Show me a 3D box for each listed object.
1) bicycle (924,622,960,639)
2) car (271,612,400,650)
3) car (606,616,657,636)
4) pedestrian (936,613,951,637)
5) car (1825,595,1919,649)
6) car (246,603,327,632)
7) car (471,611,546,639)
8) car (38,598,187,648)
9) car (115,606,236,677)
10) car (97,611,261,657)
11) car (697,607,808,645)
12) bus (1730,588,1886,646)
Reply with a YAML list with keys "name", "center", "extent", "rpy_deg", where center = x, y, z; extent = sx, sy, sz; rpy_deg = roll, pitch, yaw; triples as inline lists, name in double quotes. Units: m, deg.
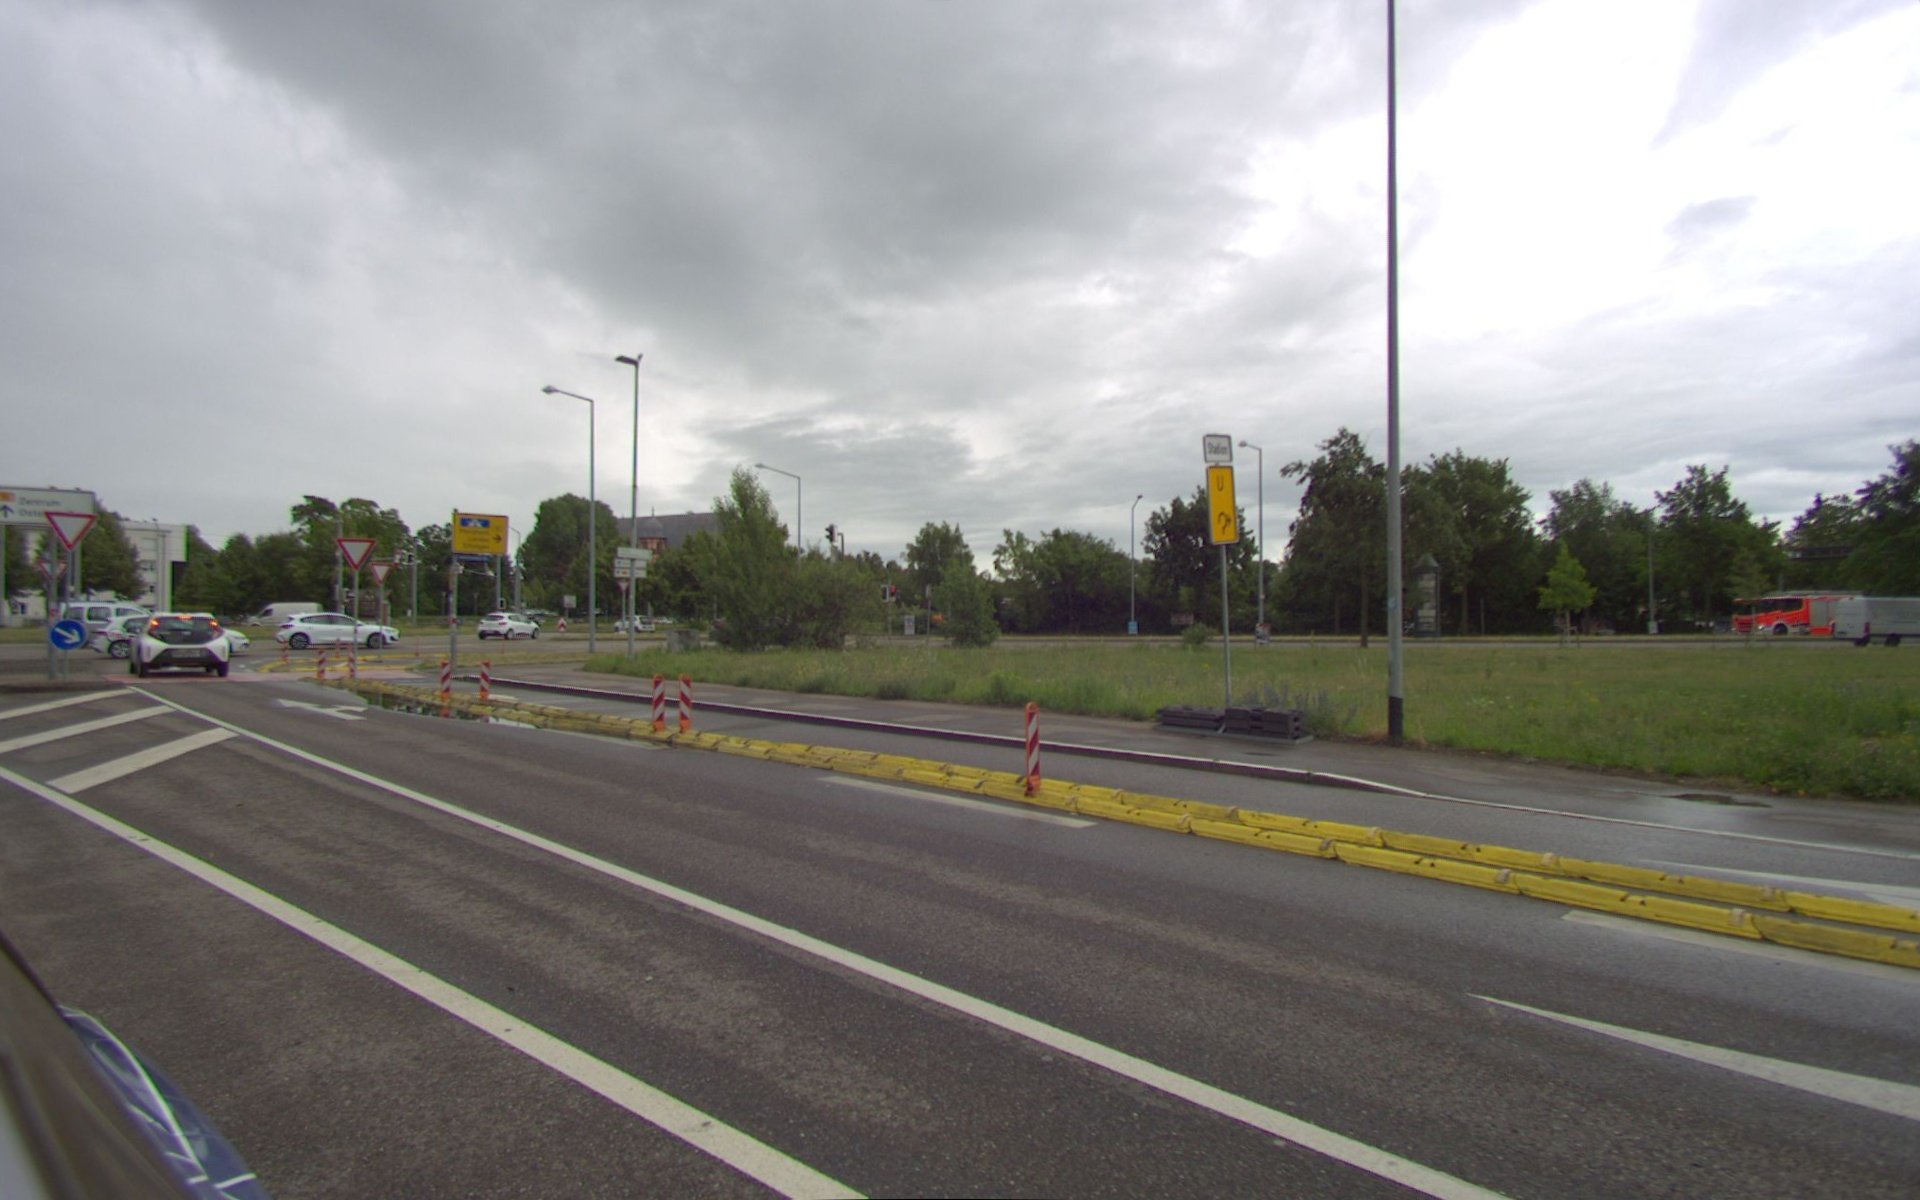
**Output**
- name: "bicycle"
  center: [-1.349, 2.258, 75.802]
  extent: [2.659, 1.231, 0.755]
  rpy_deg: [-1, -2, 9]
- name: "car"
  center: [-25.788, 1.243, 41.840]
  extent: [4.402, 1.468, 1.926]
  rpy_deg: [0, -1, -36]
- name: "car"
  center: [-26.781, 2.096, 82.560]
  extent: [3.988, 1.567, 1.878]
  rpy_deg: [-1, -1, 33]
- name: "pedestrian"
  center: [-1.222, 1.887, 75.802]
  extent: [0.963, 1.784, 0.746]
  rpy_deg: [-1, -2, 10]
- name: "car"
  center: [49.411, 1.143, 52.760]
  extent: [6.479, 2.725, 2.398]
  rpy_deg: [0, -2, -1]
- name: "car"
  center: [-59.749, 1.575, 89.892]
  extent: [5.516, 2.561, 2.246]
  rpy_deg: [0, -1, -13]
- name: "car"
  center: [-25.012, 1.361, 56.247]
  extent: [1.897, 1.466, 4.469]
  rpy_deg: [0, -1, 4]
- name: "car"
  center: [-33.656, 0.885, 40.370]
  extent: [4.412, 1.918, 1.926]
  rpy_deg: [0, -1, -37]
- name: "car"
  center: [-19.197, 1.000, 24.705]
  extent: [3.903, 1.599, 1.731]
  rpy_deg: [-1, -4, 44]
- name: "car"
  center: [-26.670, 1.116, 34.684]
  extent: [4.361, 1.468, 1.836]
  rpy_deg: [0, -1, -39]
- name: "car"
  center: [-9.625, 1.178, 47.050]
  extent: [4.673, 1.680, 1.926]
  rpy_deg: [0, -1, -36]
- name: "bus"
  center: [56.267, 1.136, 67.227]
  extent: [8.270, 3.676, 2.737]
  rpy_deg: [0, -2, -5]
